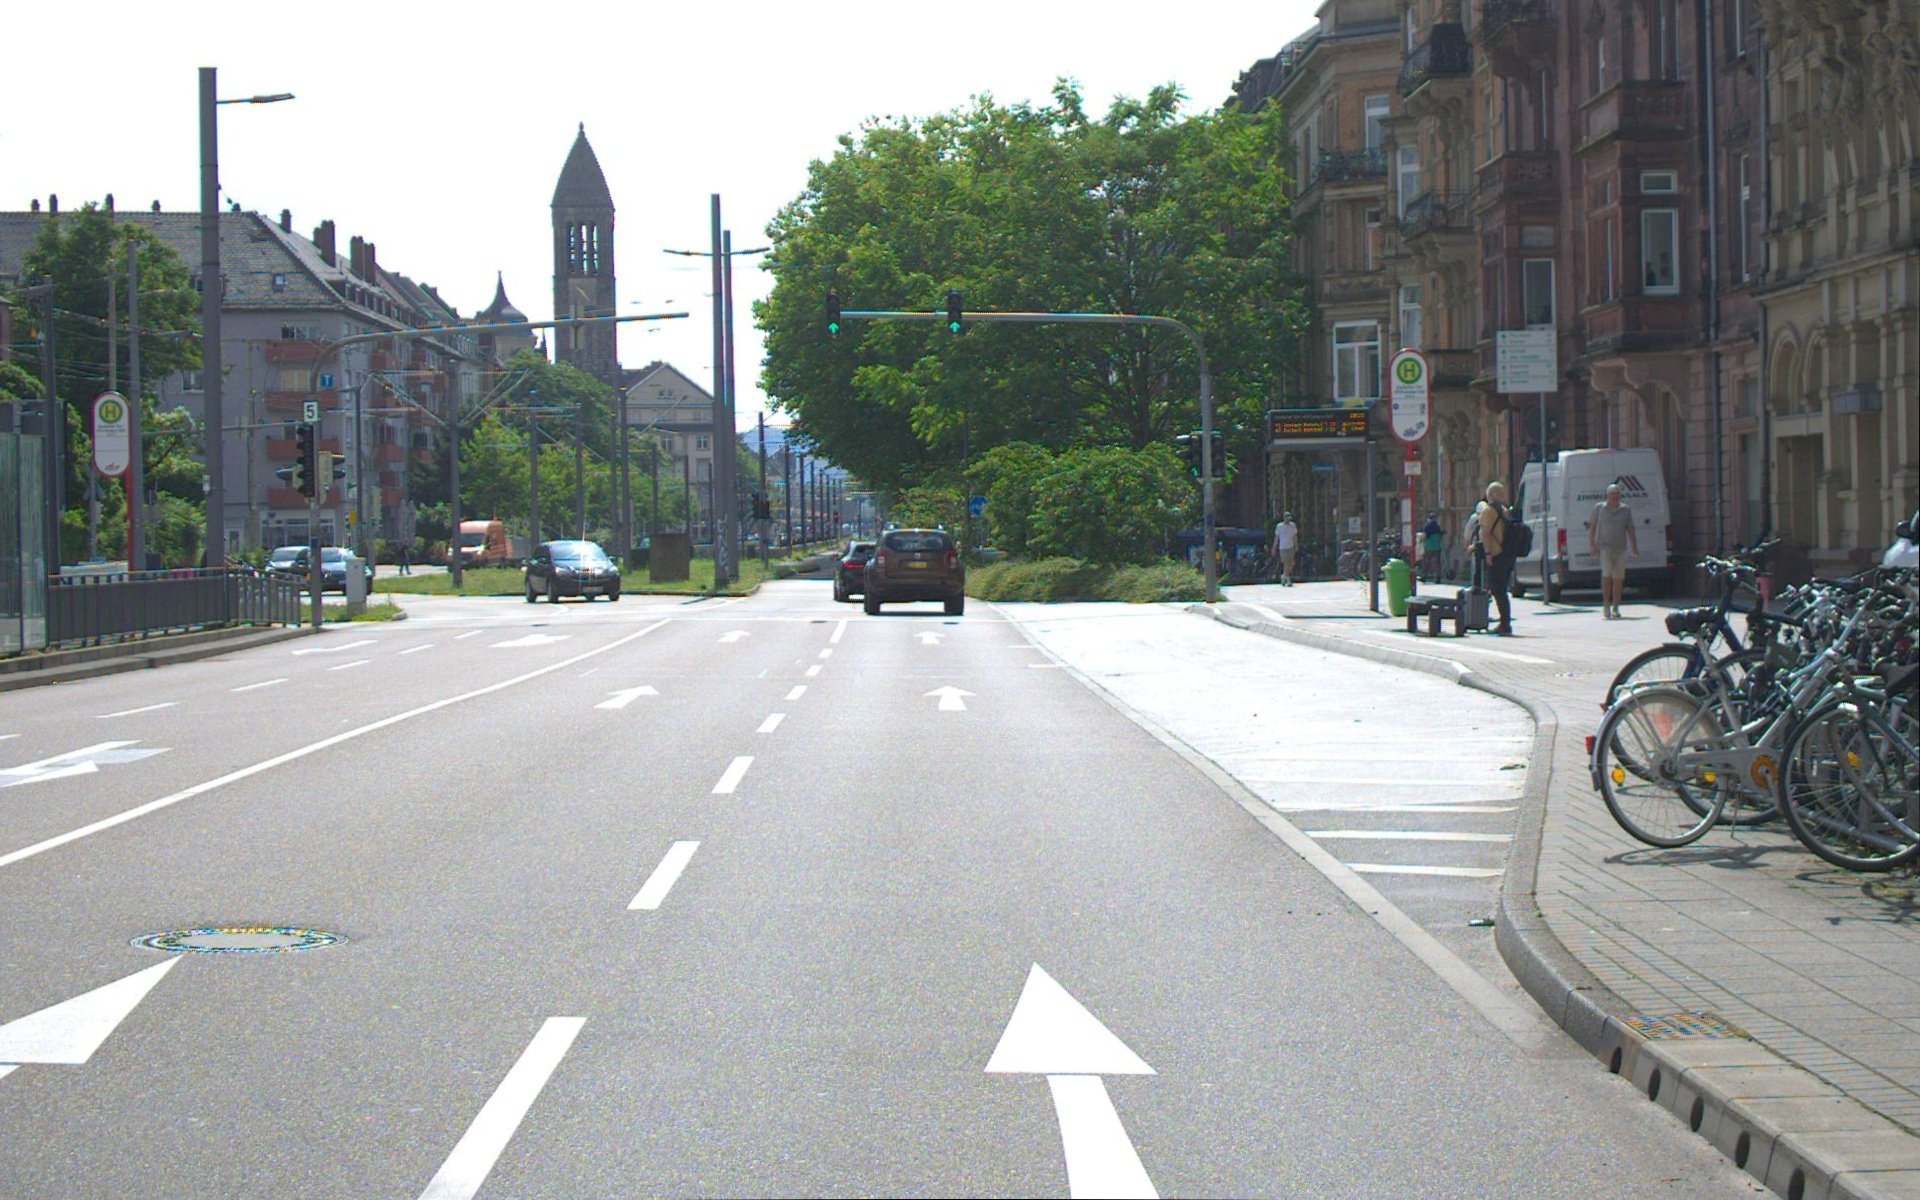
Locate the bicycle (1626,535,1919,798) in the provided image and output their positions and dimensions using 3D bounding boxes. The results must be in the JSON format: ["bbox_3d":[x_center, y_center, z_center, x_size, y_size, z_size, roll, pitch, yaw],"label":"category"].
[{"bbox_3d":[4.309,0.315,17.149,1.923,1.233,0.441,-1,3,-12],"label":"bicycle"}]

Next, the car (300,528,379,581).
[{"bbox_3d":[-18.986,-1.400,105.385,1.817,1.546,4.561,-1,1,-3],"label":"car"}]

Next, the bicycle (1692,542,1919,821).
[{"bbox_3d":[4.408,0.358,16.035,1.923,1.233,0.441,-1,3,-11],"label":"bicycle"}]

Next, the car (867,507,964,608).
[{"bbox_3d":[-0.860,-0.831,64.942,1.688,1.705,3.610,-1,3,-3],"label":"car"}]

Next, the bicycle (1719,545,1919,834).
[{"bbox_3d":[4.409,0.377,15.467,1.923,1.233,0.441,-1,3,-11],"label":"bicycle"}]

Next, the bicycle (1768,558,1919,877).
[{"bbox_3d":[4.239,0.455,13.719,1.924,1.233,0.441,-1,3,1],"label":"bicycle"}]

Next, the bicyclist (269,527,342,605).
[{"bbox_3d":[-12.166,-0.641,63.956,1.089,1.431,0.824,-1,1,9],"label":"bicyclist"}]

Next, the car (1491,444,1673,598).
[{"bbox_3d":[10.734,-1.371,59.762,1.993,2.517,5.889,-1,1,-1],"label":"car"}]

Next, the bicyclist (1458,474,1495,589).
[{"bbox_3d":[7.780,-1.039,51.816,0.427,1.712,0.828,-1,3,0],"label":"bicyclist"}]

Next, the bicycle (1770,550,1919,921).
[{"bbox_3d":[3.508,0.482,12.424,0.439,1.233,1.931,-1,3,-9],"label":"bicycle"}]

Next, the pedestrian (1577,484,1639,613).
[{"bbox_3d":[9.300,-0.741,49.366,0.662,1.830,0.695,-1,1,-7],"label":"pedestrian"}]

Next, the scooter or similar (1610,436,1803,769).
[{"bbox_3d":[4.156,-0.002,19.226,0.397,1.780,1.538,-1,1,-14],"label":"scooter or similar"}]

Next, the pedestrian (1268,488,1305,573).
[{"bbox_3d":[7.815,-1.669,82.311,0.768,2.007,0.715,-1,1,0],"label":"pedestrian"}]

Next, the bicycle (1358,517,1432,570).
[{"bbox_3d":[10.625,-1.379,83.970,1.746,1.263,0.466,-1,3,3],"label":"bicycle"}]

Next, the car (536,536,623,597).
[{"bbox_3d":[-9.165,-0.822,83.048,1.915,1.412,3.742,-1,1,-4],"label":"car"}]

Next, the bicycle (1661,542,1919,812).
[{"bbox_3d":[4.381,0.353,16.623,1.923,1.233,0.441,-1,3,-11],"label":"bicycle"}]

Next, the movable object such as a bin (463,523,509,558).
[{"bbox_3d":[-25.369,-3.193,184.189,2.206,1.687,3.718,-1,3,-5],"label":"movable object such as a bin"}]

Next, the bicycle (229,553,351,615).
[{"bbox_3d":[-12.462,-0.299,63.971,2.019,1.122,0.931,-1,1,10],"label":"bicycle"}]

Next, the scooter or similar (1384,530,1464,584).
[{"bbox_3d":[10.885,-1.006,80.670,1.769,1.181,0.466,-3,0,0],"label":"scooter or similar"}]

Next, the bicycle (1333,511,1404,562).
[{"bbox_3d":[10.436,-1.633,87.804,1.769,1.263,0.466,-1,3,3],"label":"bicycle"}]

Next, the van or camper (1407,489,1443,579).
[{"bbox_3d":[10.471,-1.482,77.395,0.666,2.007,0.638,-1,1,-1],"label":"van or camper"}]

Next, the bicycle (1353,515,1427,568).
[{"bbox_3d":[10.586,-1.435,84.682,1.769,1.263,0.466,-1,3,3],"label":"bicycle"}]

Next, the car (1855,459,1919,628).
[{"bbox_3d":[11.583,-0.639,37.375,1.993,1.855,4.754,-1,1,-6],"label":"car"}]

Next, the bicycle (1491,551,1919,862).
[{"bbox_3d":[3.258,0.437,14.711,1.923,1.233,0.441,-2,3,-14],"label":"bicycle"}]

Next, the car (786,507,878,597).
[{"bbox_3d":[-3.019,-1.125,80.236,1.993,2.007,4.001,-1,1,-4],"label":"car"}]

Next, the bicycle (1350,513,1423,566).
[{"bbox_3d":[10.594,-1.507,85.357,1.769,1.263,0.466,-1,3,3],"label":"bicycle"}]

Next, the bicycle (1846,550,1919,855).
[{"bbox_3d":[4.739,0.398,14.566,1.923,1.233,0.441,-2,3,-13],"label":"bicycle"}]

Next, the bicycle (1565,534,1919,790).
[{"bbox_3d":[4.133,0.305,17.713,1.978,1.233,0.441,-1,3,-12],"label":"bicycle"}]

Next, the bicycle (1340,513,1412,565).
[{"bbox_3d":[10.493,-1.547,86.783,1.769,1.263,0.466,-1,3,3],"label":"bicycle"}]

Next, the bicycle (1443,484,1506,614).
[{"bbox_3d":[7.758,-0.768,51.865,0.683,1.919,1.590,-1,1,0],"label":"bicycle"}]

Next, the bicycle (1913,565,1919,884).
[{"bbox_3d":[4.675,0.483,13.159,1.924,1.233,0.441,-1,3,1],"label":"bicycle"}]

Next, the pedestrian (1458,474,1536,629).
[{"bbox_3d":[6.650,-0.603,42.593,0.662,1.896,0.695,-2,1,-19],"label":"pedestrian"}]

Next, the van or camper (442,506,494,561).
[{"bbox_3d":[-25.458,-3.436,178.130,2.255,2.728,6.204,-1,1,-5],"label":"van or camper"}]

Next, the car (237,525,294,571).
[{"bbox_3d":[-24.250,-1.827,120.111,1.799,1.546,4.297,-1,1,-10],"label":"car"}]

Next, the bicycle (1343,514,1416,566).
[{"bbox_3d":[10.505,-1.502,86.160,1.769,1.263,0.466,-1,3,3],"label":"bicycle"}]
